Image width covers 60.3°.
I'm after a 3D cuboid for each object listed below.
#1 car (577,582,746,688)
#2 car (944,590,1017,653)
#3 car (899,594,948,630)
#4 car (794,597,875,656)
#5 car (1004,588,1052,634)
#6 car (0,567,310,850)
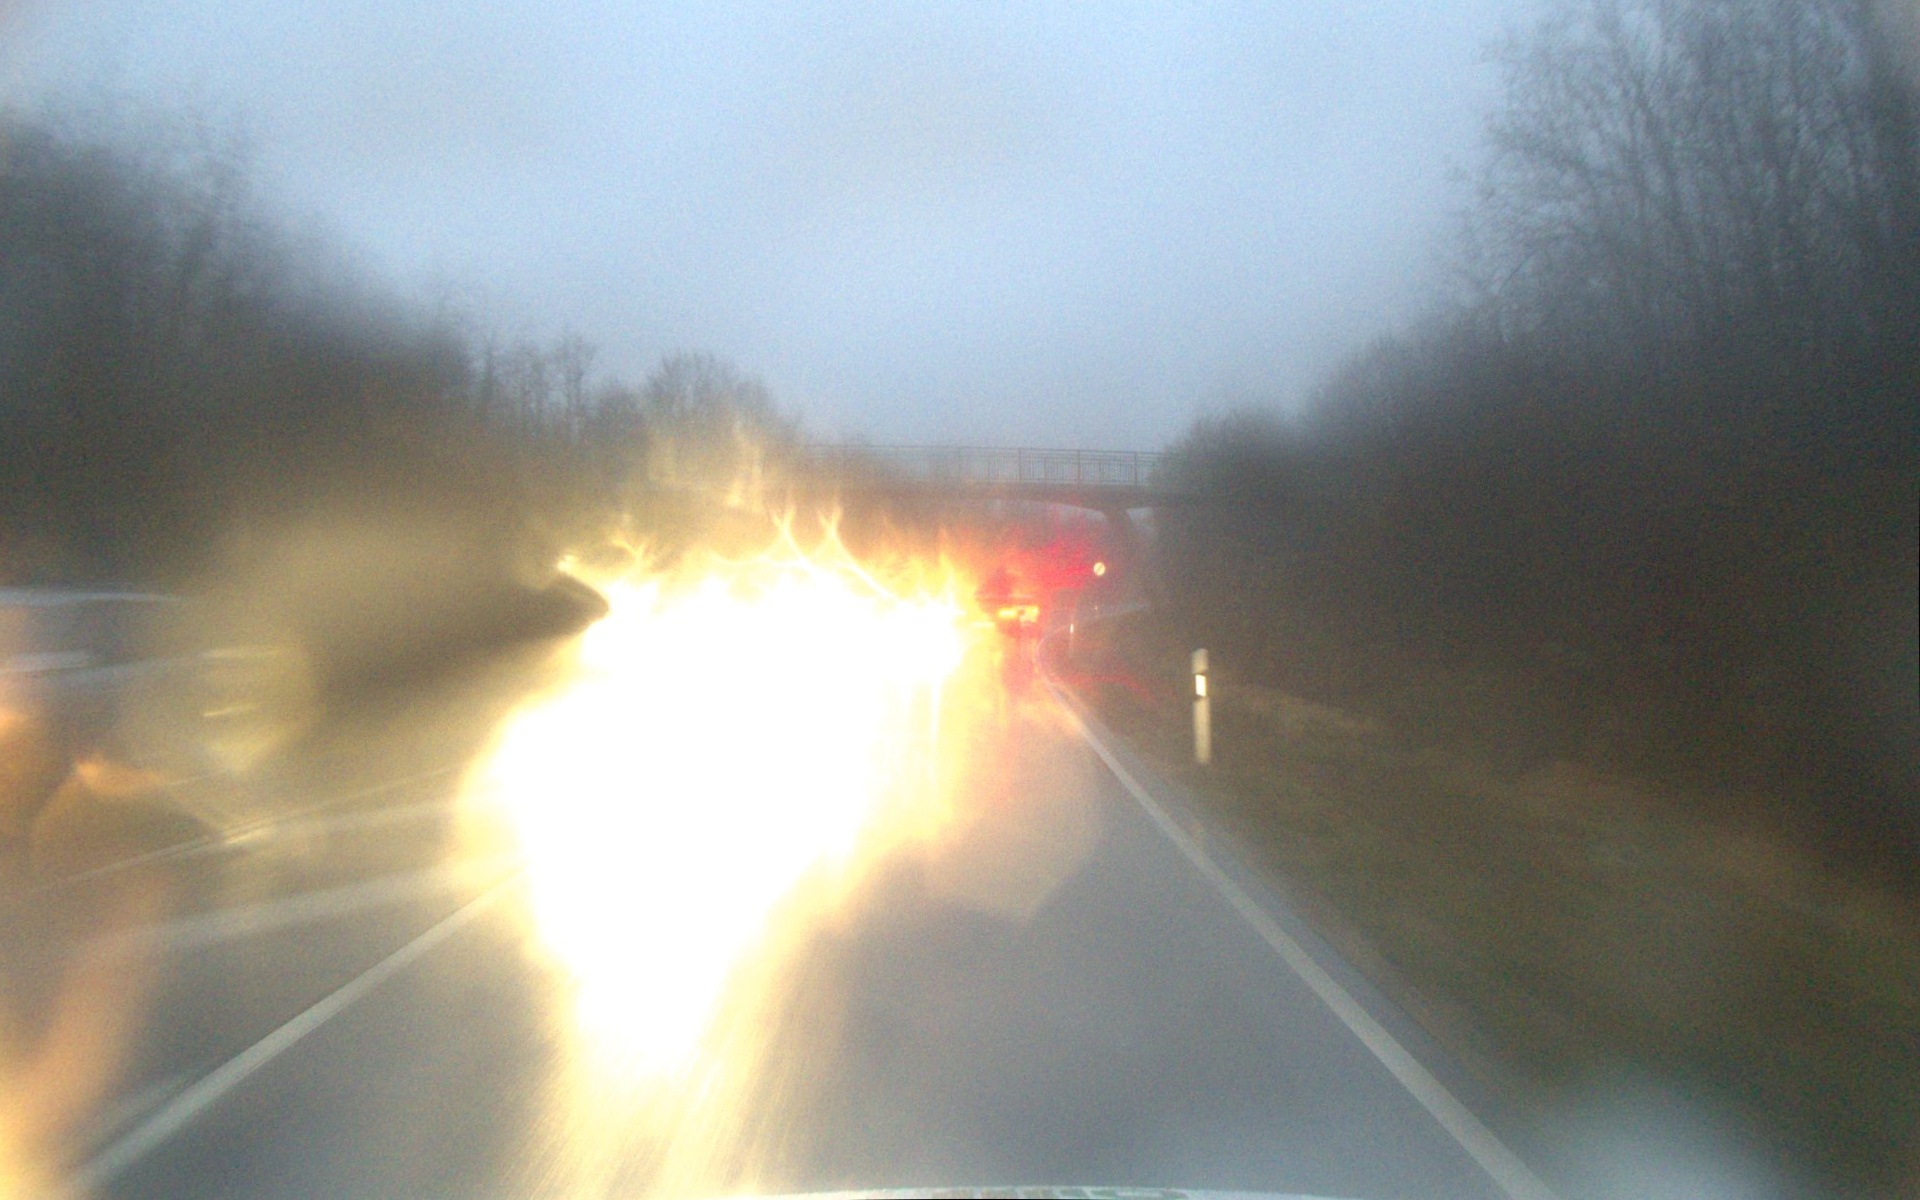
[{"bbox_3d":[-5.070,0.535,28.712,1.863,1.677,4.729,1,0,3],"label":"car"},{"bbox_3d":[0.517,0.480,39.505,1.644,1.414,4.099,-1,0,2],"label":"car"},{"bbox_3d":[-1.518,0.507,70.585,1.766,1.479,4.380,0,0,3],"label":"car"},{"bbox_3d":[-3.679,0.784,49.130,1.821,1.676,4.469,0,-1,3],"label":"car"},{"bbox_3d":[2.654,0.388,63.873,1.643,1.704,4.101,-1,0,5],"label":"car"},{"bbox_3d":[-6.117,0.581,10.838,1.785,1.550,4.301,-1,1,3],"label":"car"}]
